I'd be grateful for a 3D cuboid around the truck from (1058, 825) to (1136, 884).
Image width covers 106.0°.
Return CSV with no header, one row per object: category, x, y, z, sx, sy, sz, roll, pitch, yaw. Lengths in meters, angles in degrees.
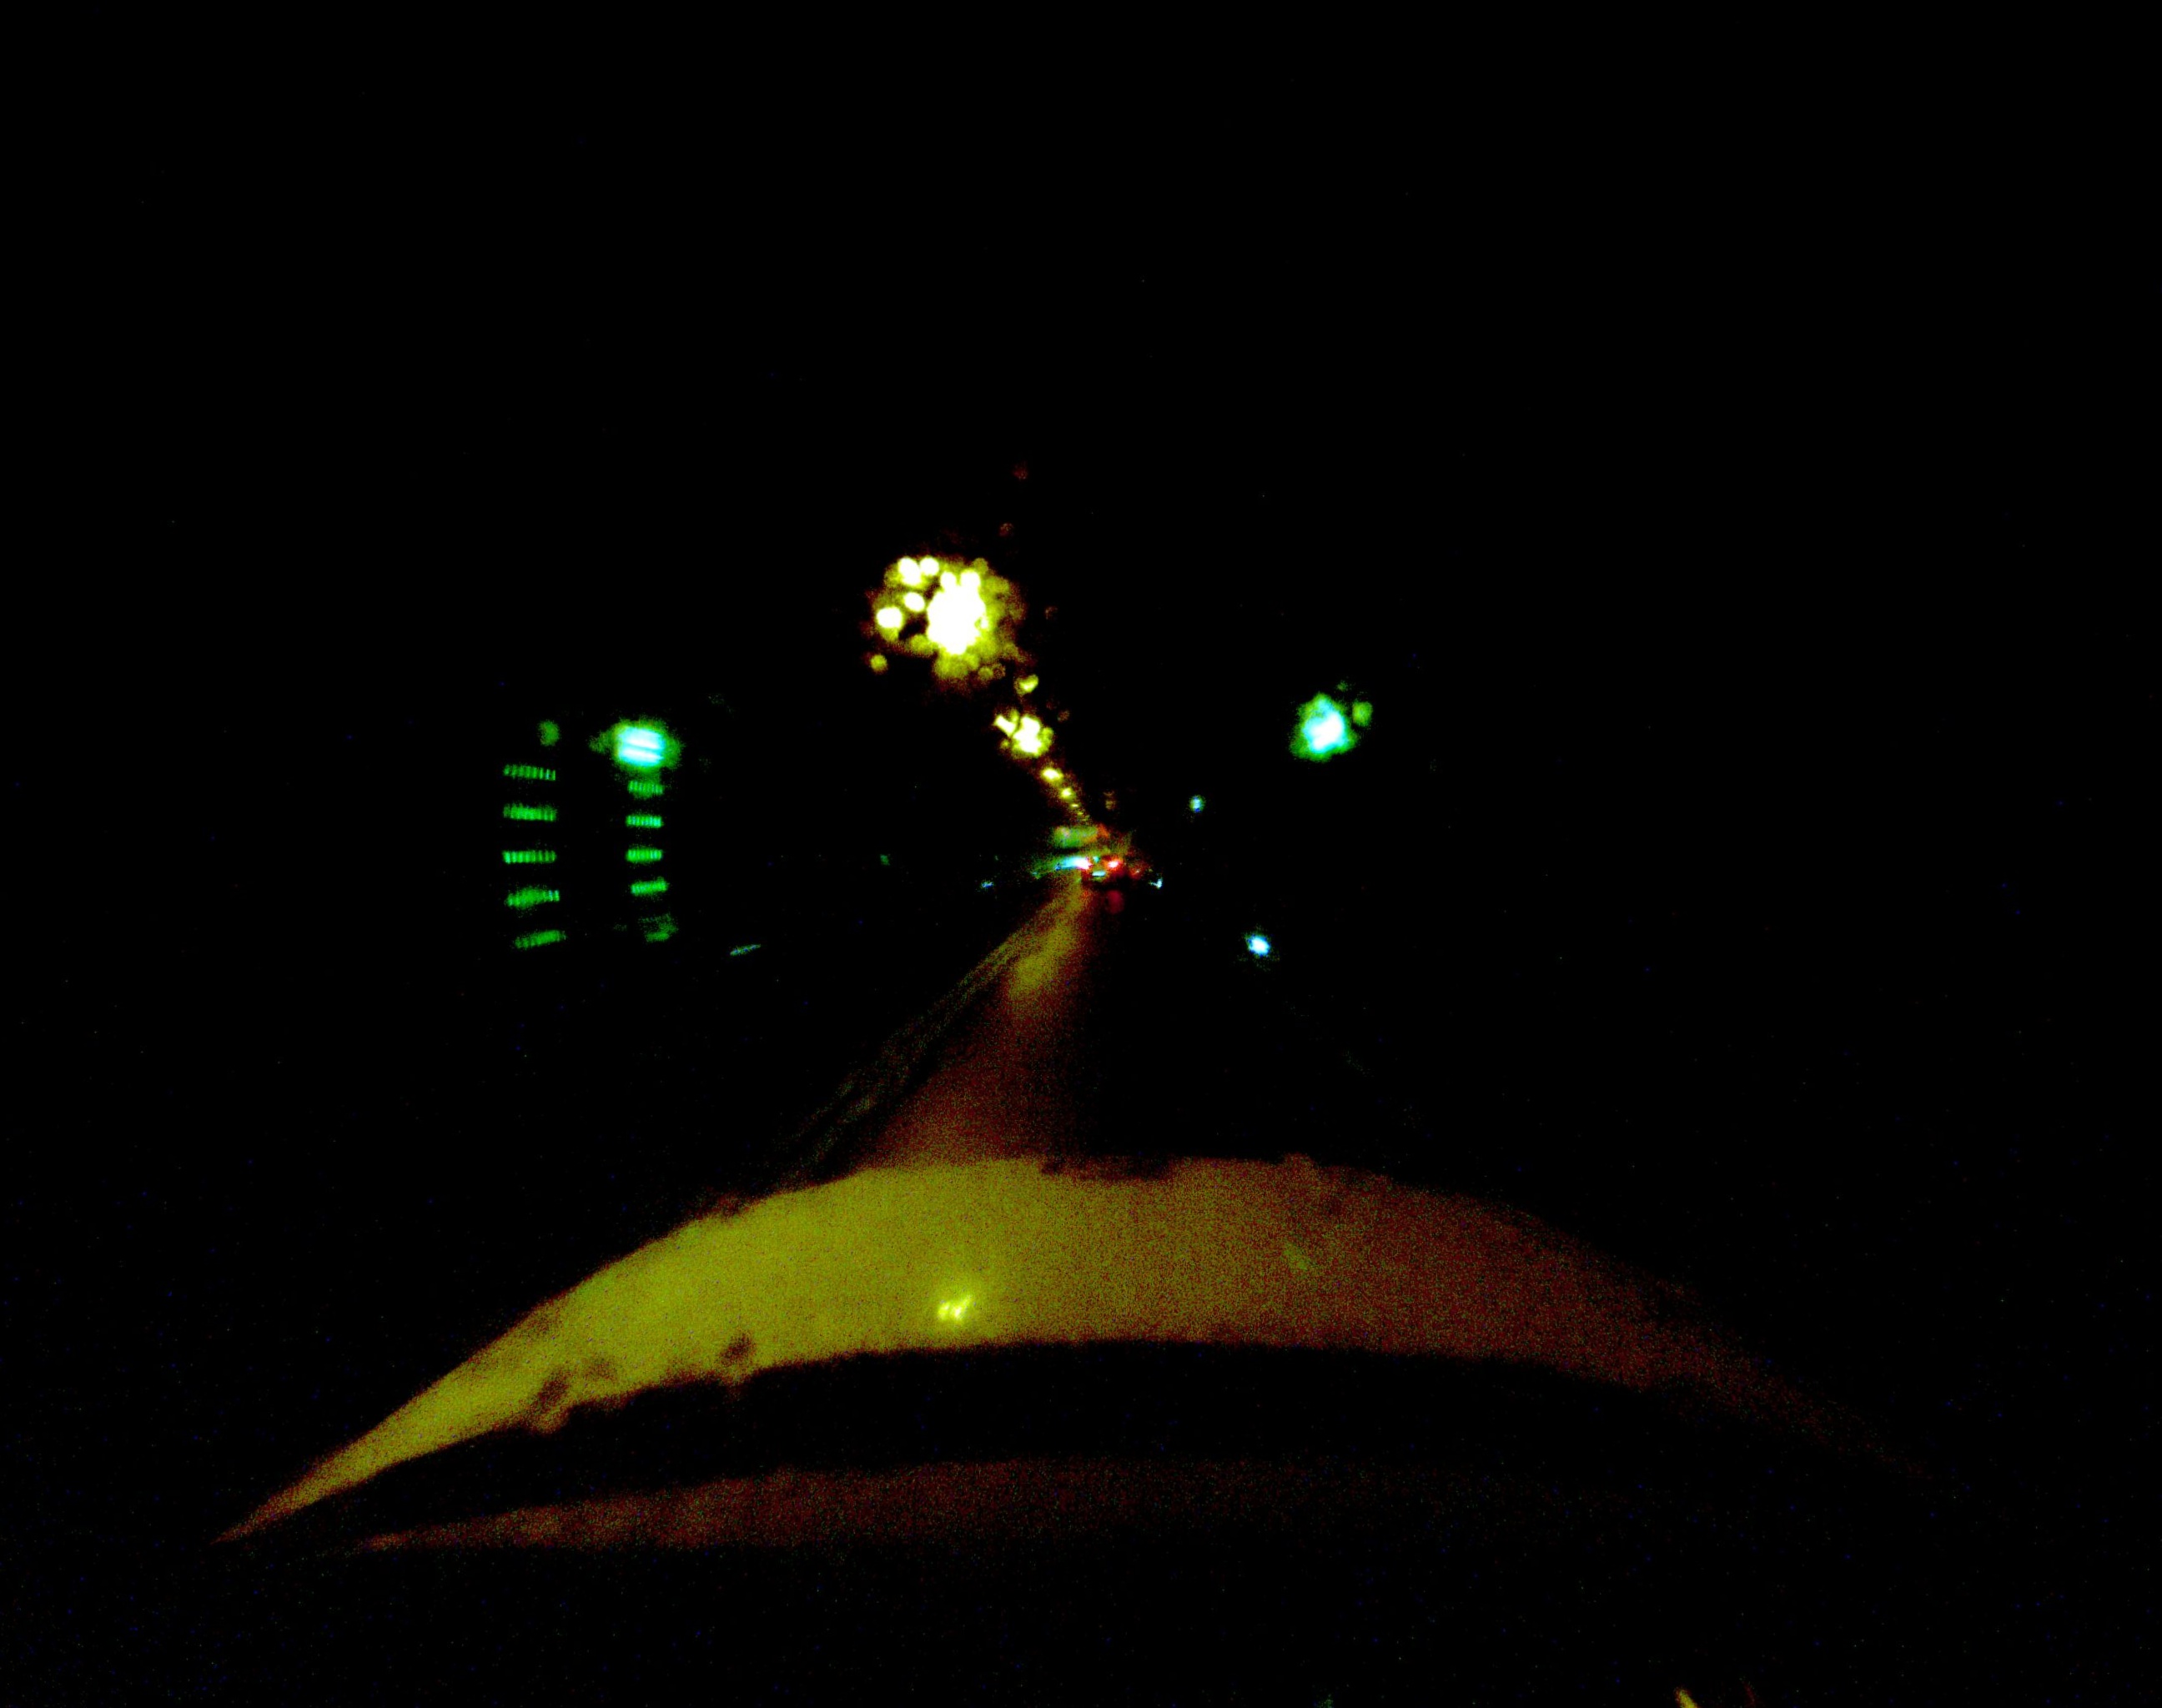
truck,0.890,0.032,41.660,3.521,2.693,8.960,0,0,2
